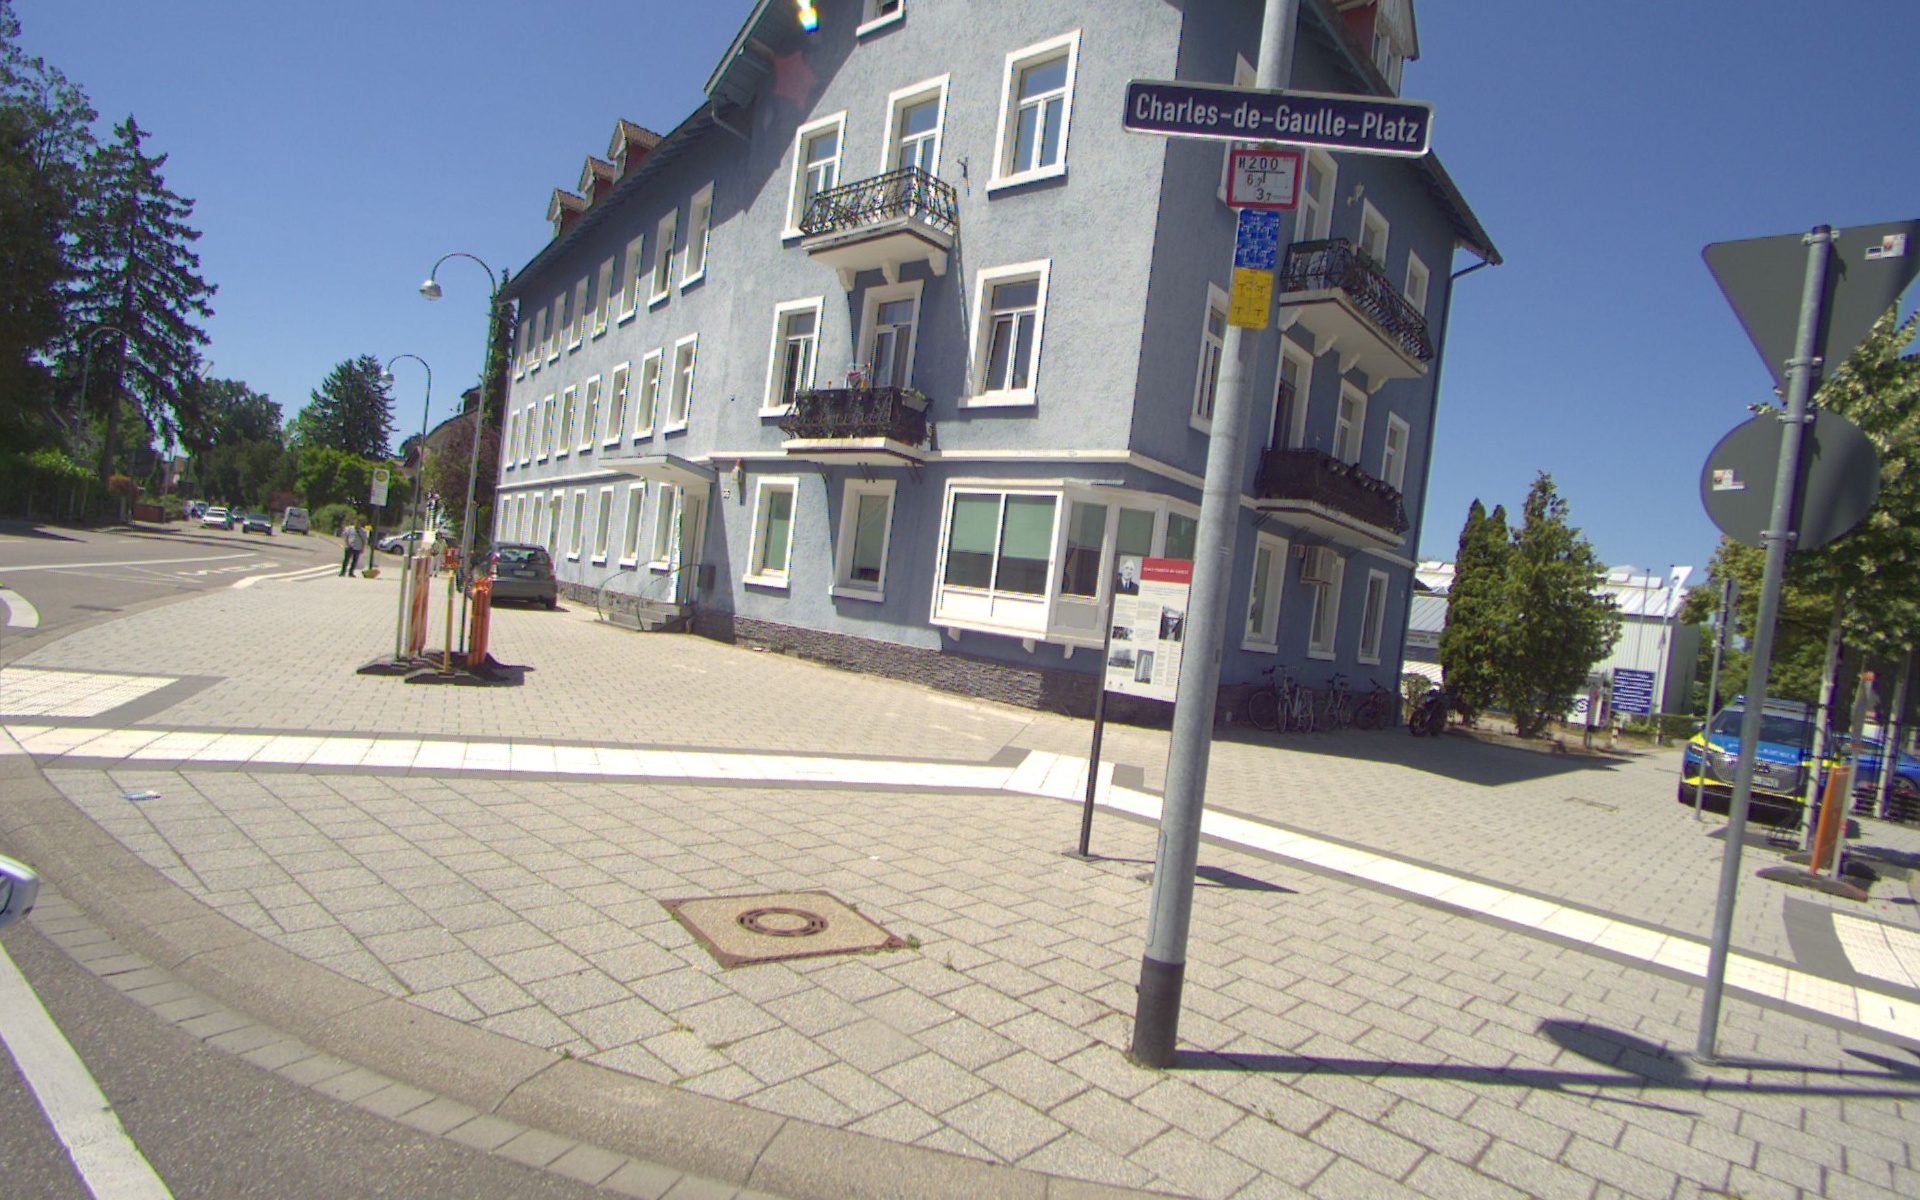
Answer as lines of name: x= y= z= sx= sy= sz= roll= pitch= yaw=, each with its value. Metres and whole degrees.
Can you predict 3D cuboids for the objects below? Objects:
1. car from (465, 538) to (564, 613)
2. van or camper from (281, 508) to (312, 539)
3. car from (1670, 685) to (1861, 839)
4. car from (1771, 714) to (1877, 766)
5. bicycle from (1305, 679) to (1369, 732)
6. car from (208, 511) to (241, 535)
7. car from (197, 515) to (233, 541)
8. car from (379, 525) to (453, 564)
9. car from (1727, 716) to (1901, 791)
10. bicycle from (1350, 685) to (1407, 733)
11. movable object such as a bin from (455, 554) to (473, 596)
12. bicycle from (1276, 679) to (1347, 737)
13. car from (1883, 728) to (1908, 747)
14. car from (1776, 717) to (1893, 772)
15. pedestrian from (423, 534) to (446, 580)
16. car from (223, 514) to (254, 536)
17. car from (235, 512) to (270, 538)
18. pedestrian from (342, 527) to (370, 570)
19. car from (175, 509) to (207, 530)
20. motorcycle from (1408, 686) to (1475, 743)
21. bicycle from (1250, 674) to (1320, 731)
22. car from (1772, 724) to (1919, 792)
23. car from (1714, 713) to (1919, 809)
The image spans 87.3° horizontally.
car: x=-11.014 y=-0.641 z=24.758 sx=1.627 sy=1.528 sz=3.531 roll=4 pitch=2 yaw=-33
van or camper: x=-66.149 y=-7.610 z=100.280 sx=2.193 sy=2.642 sz=3.962 roll=8 pitch=-1 yaw=-35
car: x=12.628 y=2.443 z=15.665 sx=1.880 sy=1.764 sz=4.230 roll=9 pitch=0 yaw=42
car: x=45.075 y=7.250 z=52.559 sx=3.945 sy=1.884 sz=1.989 roll=7 pitch=2 yaw=42
bicycle: x=7.556 y=2.120 z=20.111 sx=0.474 sy=0.918 sz=1.704 roll=10 pitch=1 yaw=43
car: x=-62.245 y=-6.485 z=85.186 sx=1.982 sy=1.671 sz=3.962 roll=8 pitch=-1 yaw=-35
car: x=-59.175 y=-5.716 z=79.949 sx=1.982 sy=1.671 sz=3.962 roll=8 pitch=-1 yaw=-35
car: x=-36.718 y=-3.741 z=67.948 sx=3.971 sy=2.038 sz=1.978 roll=8 pitch=-1 yaw=-40
car: x=26.782 y=4.777 z=31.661 sx=3.945 sy=1.548 sz=1.991 roll=7 pitch=-1 yaw=42
bicycle: x=9.074 y=2.369 z=21.787 sx=0.474 sy=0.918 sz=1.704 roll=10 pitch=1 yaw=43
movable object such as a bin: x=-13.884 y=-0.710 z=28.196 sx=0.280 sy=1.138 sz=1.179 roll=5 pitch=1 yaw=-22
bicycle: x=6.320 y=1.951 z=18.045 sx=0.434 sy=0.918 sz=1.704 roll=10 pitch=1 yaw=43
car: x=124.150 y=18.233 z=133.519 sx=1.971 sy=2.038 sz=3.985 roll=7 pitch=-1 yaw=39
car: x=41.507 y=6.854 z=47.827 sx=3.945 sy=1.881 sz=1.992 roll=7 pitch=-2 yaw=42
pedestrian: x=-19.143 y=-1.553 z=36.671 sx=0.660 sy=1.615 sz=0.583 roll=3 pitch=3 yaw=-26
car: x=-83.965 y=-8.745 z=117.020 sx=3.944 sy=2.038 sz=1.991 roll=7 pitch=-1 yaw=42
car: x=-55.799 y=-5.922 z=79.384 sx=1.982 sy=1.737 sz=3.964 roll=8 pitch=-1 yaw=-34
pedestrian: x=-19.121 y=-1.641 z=31.845 sx=0.660 sy=1.303 sz=0.583 roll=3 pitch=3 yaw=-26
car: x=-90.231 y=-9.441 z=118.019 sx=3.941 sy=2.038 sz=1.993 roll=7 pitch=-1 yaw=39
motorcycle: x=10.409 y=2.489 z=21.718 sx=1.895 sy=1.064 sz=0.580 roll=8 pitch=1 yaw=-45
bicycle: x=5.939 y=1.881 z=18.324 sx=0.434 sy=0.918 sz=1.704 roll=10 pitch=1 yaw=43
car: x=29.144 y=5.130 z=32.825 sx=3.945 sy=1.464 sz=1.991 roll=7 pitch=-1 yaw=42
car: x=20.630 y=3.827 z=23.708 sx=4.404 sy=1.496 sz=1.902 roll=7 pitch=-3 yaw=39
